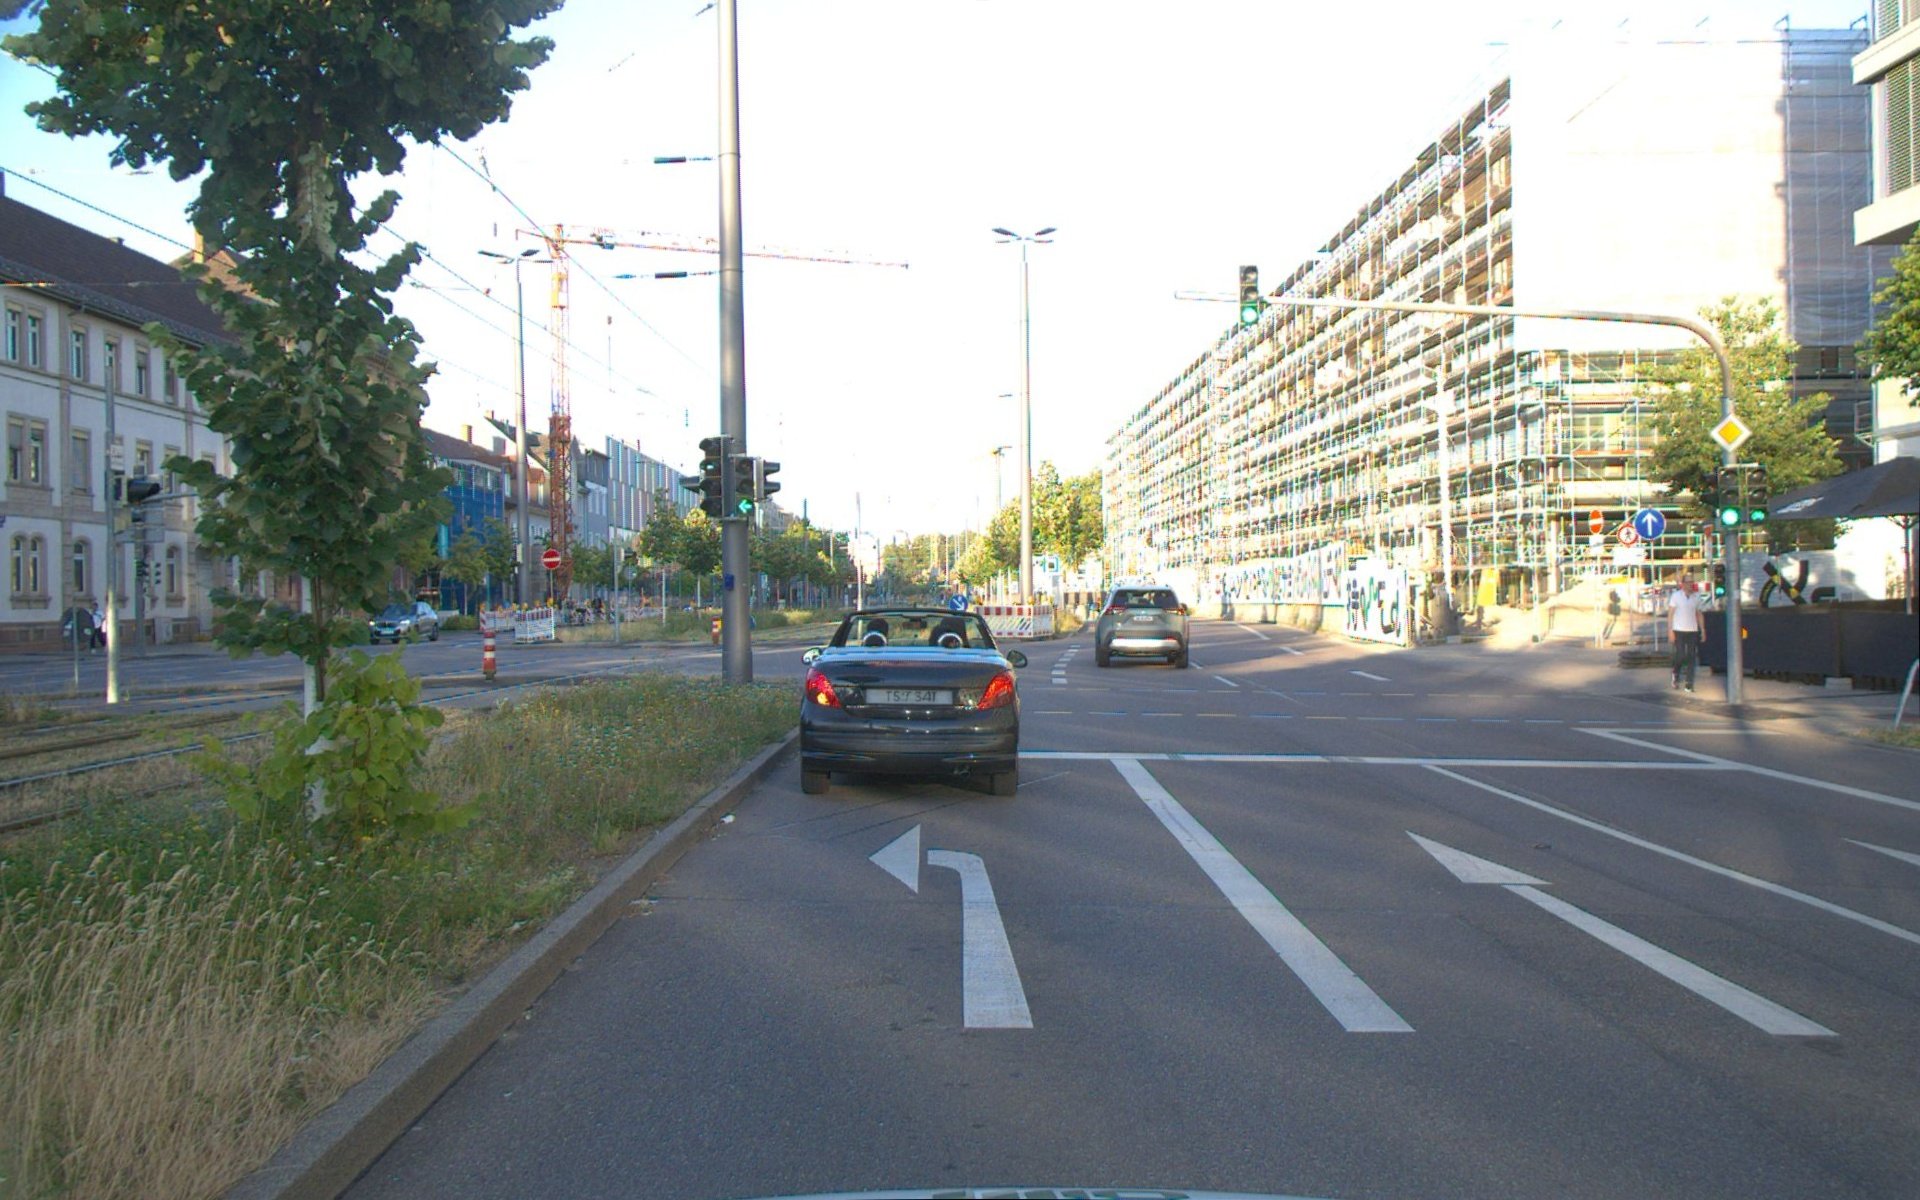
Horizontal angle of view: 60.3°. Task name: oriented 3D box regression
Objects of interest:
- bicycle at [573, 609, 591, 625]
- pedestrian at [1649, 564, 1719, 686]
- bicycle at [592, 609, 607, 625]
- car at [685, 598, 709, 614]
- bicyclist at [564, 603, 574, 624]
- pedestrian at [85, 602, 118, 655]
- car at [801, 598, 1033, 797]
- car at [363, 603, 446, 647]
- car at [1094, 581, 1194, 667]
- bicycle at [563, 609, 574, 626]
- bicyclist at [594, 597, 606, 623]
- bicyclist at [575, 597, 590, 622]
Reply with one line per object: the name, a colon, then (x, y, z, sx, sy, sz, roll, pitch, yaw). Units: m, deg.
bicycle: (-24.129, 1.078, 105.682, 0.756, 0.961, 1.640, 1, 0, 1)
pedestrian: (11.460, 0.387, 26.186, 0.753, 1.880, 0.678, -2, 0, -2)
bicycle: (-23.047, 1.097, 105.748, 0.578, 0.992, 1.556, 1, 0, 0)
car: (-25.343, 0.565, 159.375, 1.624, 1.456, 3.895, 1, 0, 0)
bicyclist: (-24.032, 0.818, 101.634, 0.580, 1.288, 0.458, 1, 0, -16)
pedestrian: (-29.173, 0.957, 56.196, 0.688, 1.745, 0.812, 1, 0, -4)
car: (-0.346, 0.695, 13.745, 1.640, 1.375, 3.999, 0, 0, -1)
car: (-22.487, 0.987, 67.097, 1.953, 1.607, 4.124, -2, 0, 0)
car: (3.792, 0.448, 34.629, 1.796, 1.701, 4.284, 0, 1, 2)
bicycle: (-24.038, 1.083, 101.634, 0.580, 1.006, 1.549, 1, 0, -16)
bicyclist: (-23.037, 0.636, 105.835, 0.578, 1.596, 0.711, 1, 0, 0)
bicyclist: (-24.118, 0.601, 105.682, 0.756, 1.598, 0.793, 1, 0, 0)
